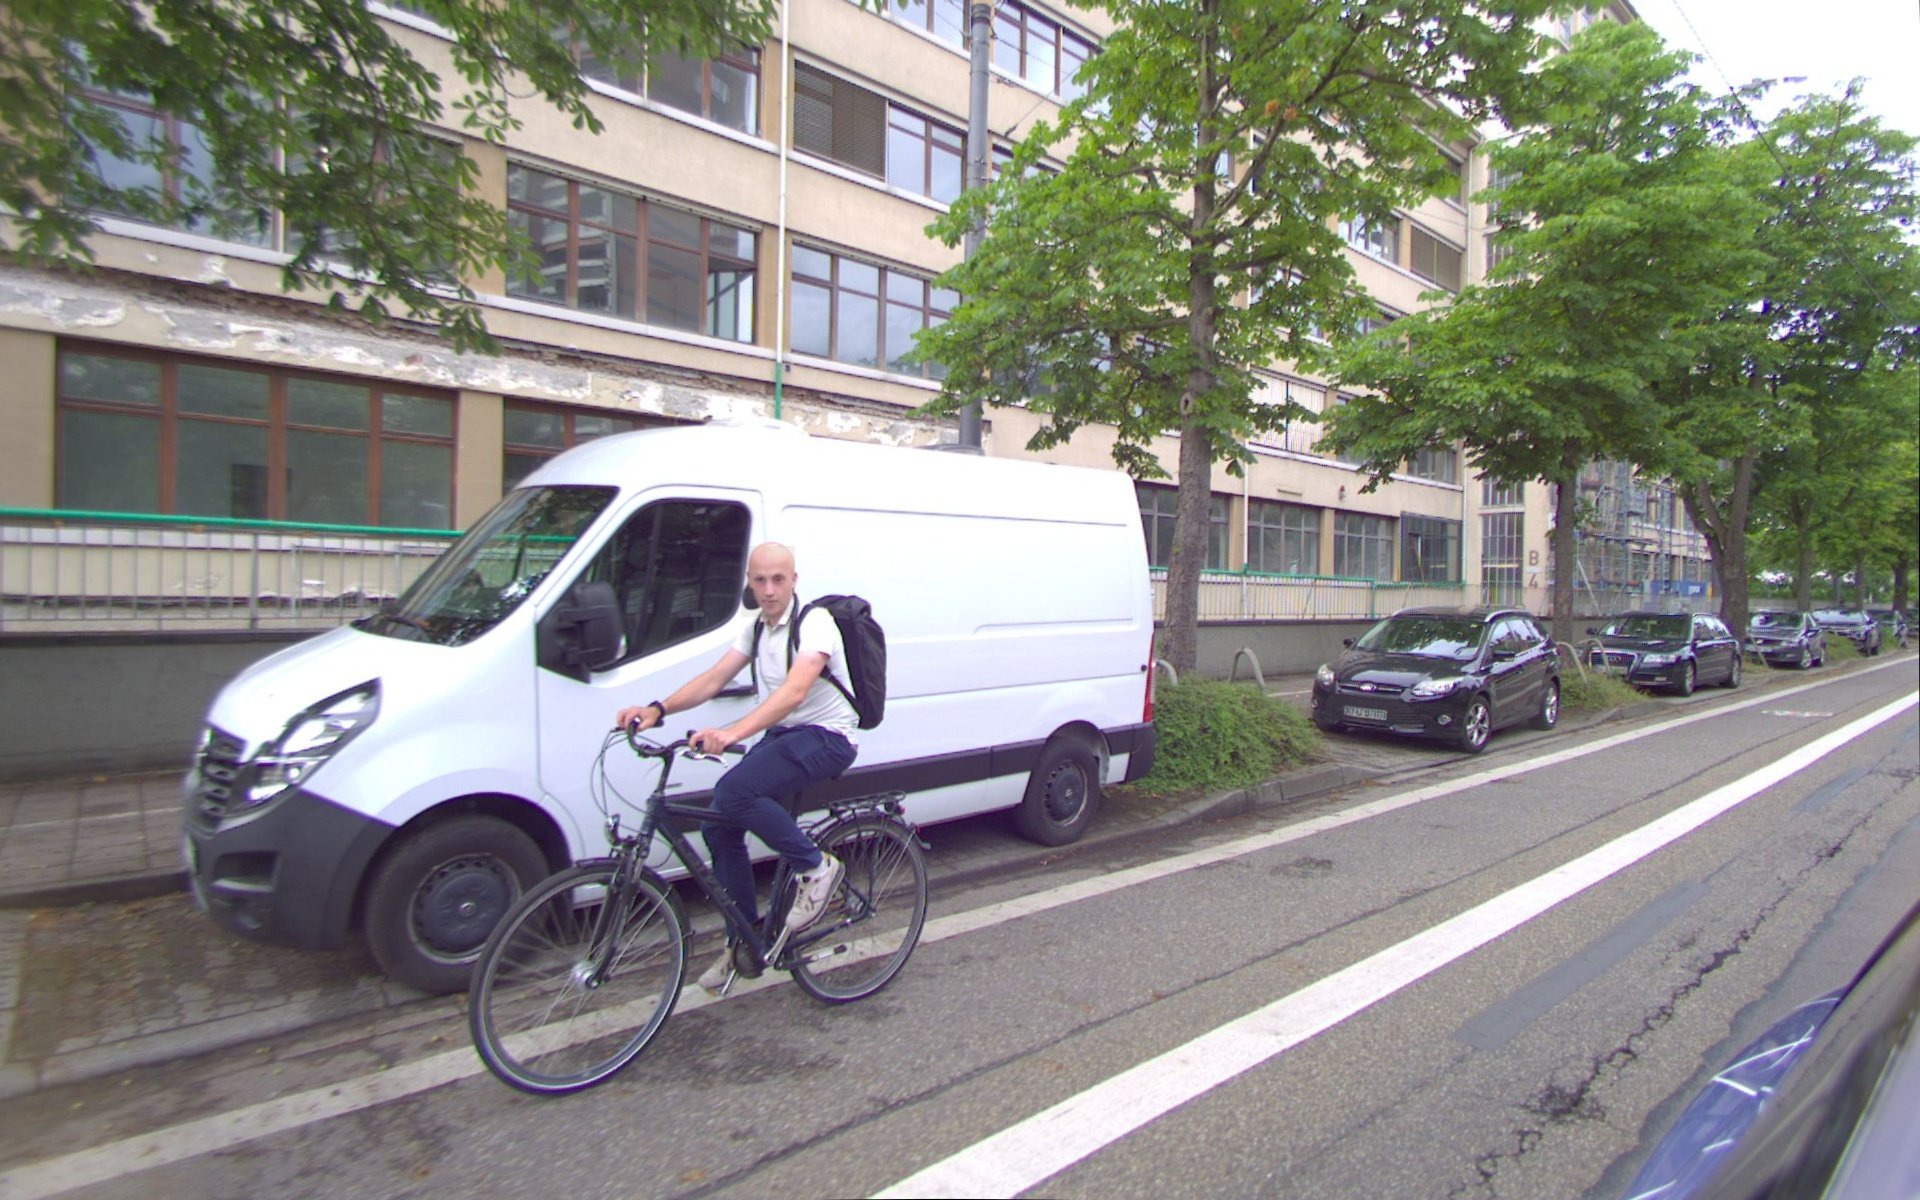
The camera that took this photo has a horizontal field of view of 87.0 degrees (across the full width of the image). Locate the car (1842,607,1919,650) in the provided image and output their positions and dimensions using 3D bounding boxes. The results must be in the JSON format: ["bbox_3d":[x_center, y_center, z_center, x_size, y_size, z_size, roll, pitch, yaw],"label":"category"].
[{"bbox_3d":[34.083,0.991,37.199,4.317,1.479,1.996,0,0,-42],"label":"car"}]

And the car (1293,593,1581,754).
[{"bbox_3d":[5.810,0.714,12.091,4.039,1.518,1.822,-1,3,-45],"label":"car"}]

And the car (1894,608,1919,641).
[{"bbox_3d":[44.956,1.130,46.930,4.317,1.479,1.996,0,0,-42],"label":"car"}]

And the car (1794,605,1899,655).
[{"bbox_3d":[28.099,0.893,32.032,4.317,1.479,1.996,0,0,-42],"label":"car"}]

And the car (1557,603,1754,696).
[{"bbox_3d":[12.714,0.807,18.400,4.317,1.479,1.996,0,0,-42],"label":"car"}]

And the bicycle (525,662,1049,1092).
[{"bbox_3d":[-0.546,0.836,3.733,1.834,1.131,0.665,1,-2,-42],"label":"bicycle"}]

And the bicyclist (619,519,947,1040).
[{"bbox_3d":[-0.629,0.547,3.666,0.969,1.590,0.663,1,-1,-41],"label":"bicyclist"}]

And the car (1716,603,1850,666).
[{"bbox_3d":[21.152,0.827,25.957,4.317,1.479,1.996,0,0,-42],"label":"car"}]

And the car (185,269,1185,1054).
[{"bbox_3d":[-1.105,0.208,6.027,5.399,2.635,2.115,0,0,-43],"label":"car"}]

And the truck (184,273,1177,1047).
[{"bbox_3d":[-1.150,0.208,6.077,5.399,2.635,2.115,0,0,-43],"label":"truck"}]
